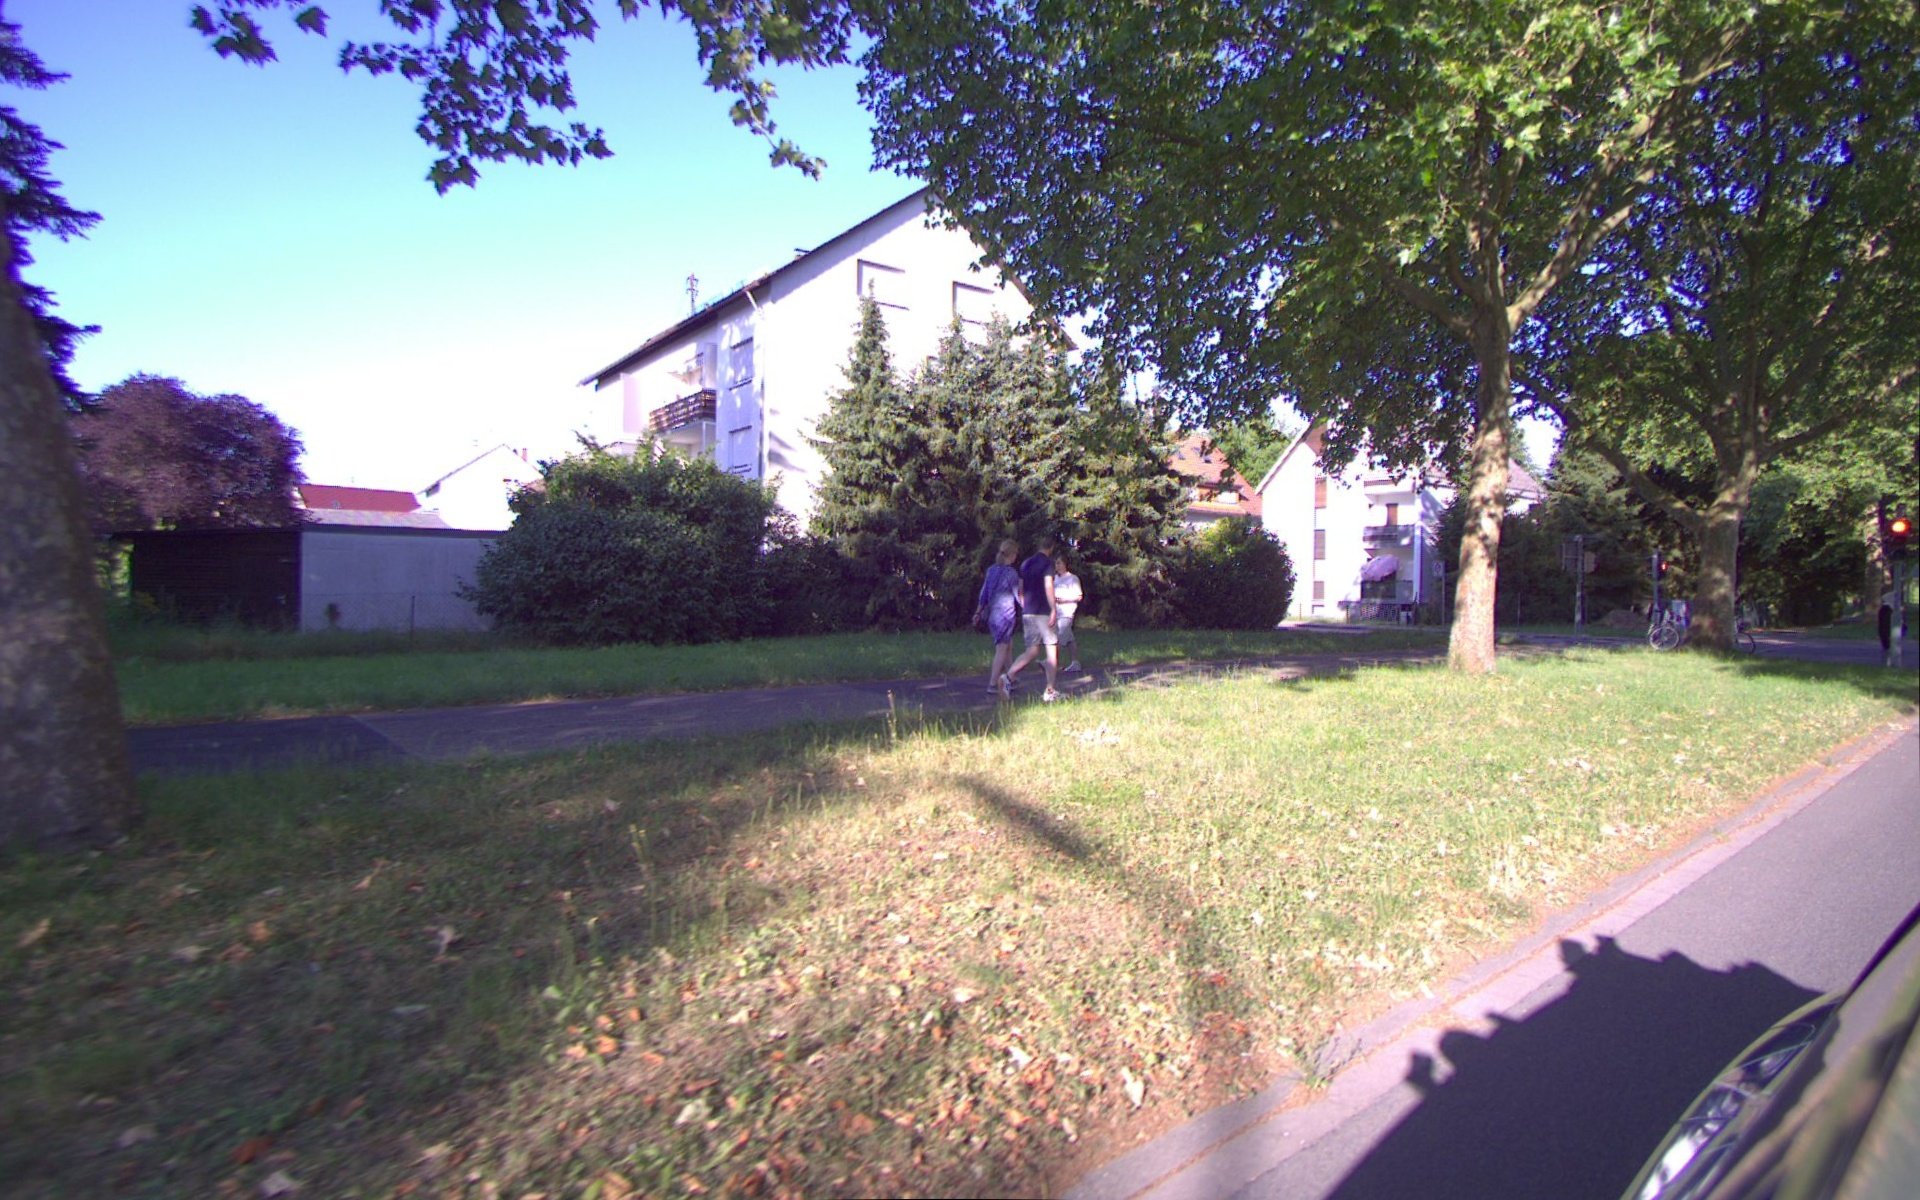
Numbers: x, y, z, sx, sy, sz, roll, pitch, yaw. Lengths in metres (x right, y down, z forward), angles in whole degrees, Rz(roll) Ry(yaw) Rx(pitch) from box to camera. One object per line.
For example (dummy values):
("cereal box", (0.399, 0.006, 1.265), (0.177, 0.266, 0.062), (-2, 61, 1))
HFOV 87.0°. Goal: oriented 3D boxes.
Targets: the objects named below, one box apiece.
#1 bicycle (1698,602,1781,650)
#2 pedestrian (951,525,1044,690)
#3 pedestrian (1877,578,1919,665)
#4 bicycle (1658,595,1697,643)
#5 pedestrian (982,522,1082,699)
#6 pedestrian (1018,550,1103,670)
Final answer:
("bicycle", (18.602, 0.608, 24.205), (0.437, 1.048, 1.722), (3, 1, -7))
("pedestrian", (0.446, 0.079, 12.050), (0.788, 1.870, 0.756), (1, 0, -38))
("pedestrian", (19.535, 0.437, 20.993), (0.634, 1.740, 0.814), (4, 2, 40))
("bicycle", (17.301, 0.446, 24.440), (0.442, 1.096, 1.988), (3, 1, 27))
("pedestrian", (0.797, 0.102, 11.233), (0.773, 1.869, 0.763), (1, 0, -38))
("pedestrian", (1.460, 0.119, 14.685), (0.923, 1.670, 0.780), (0, 1, -44))
